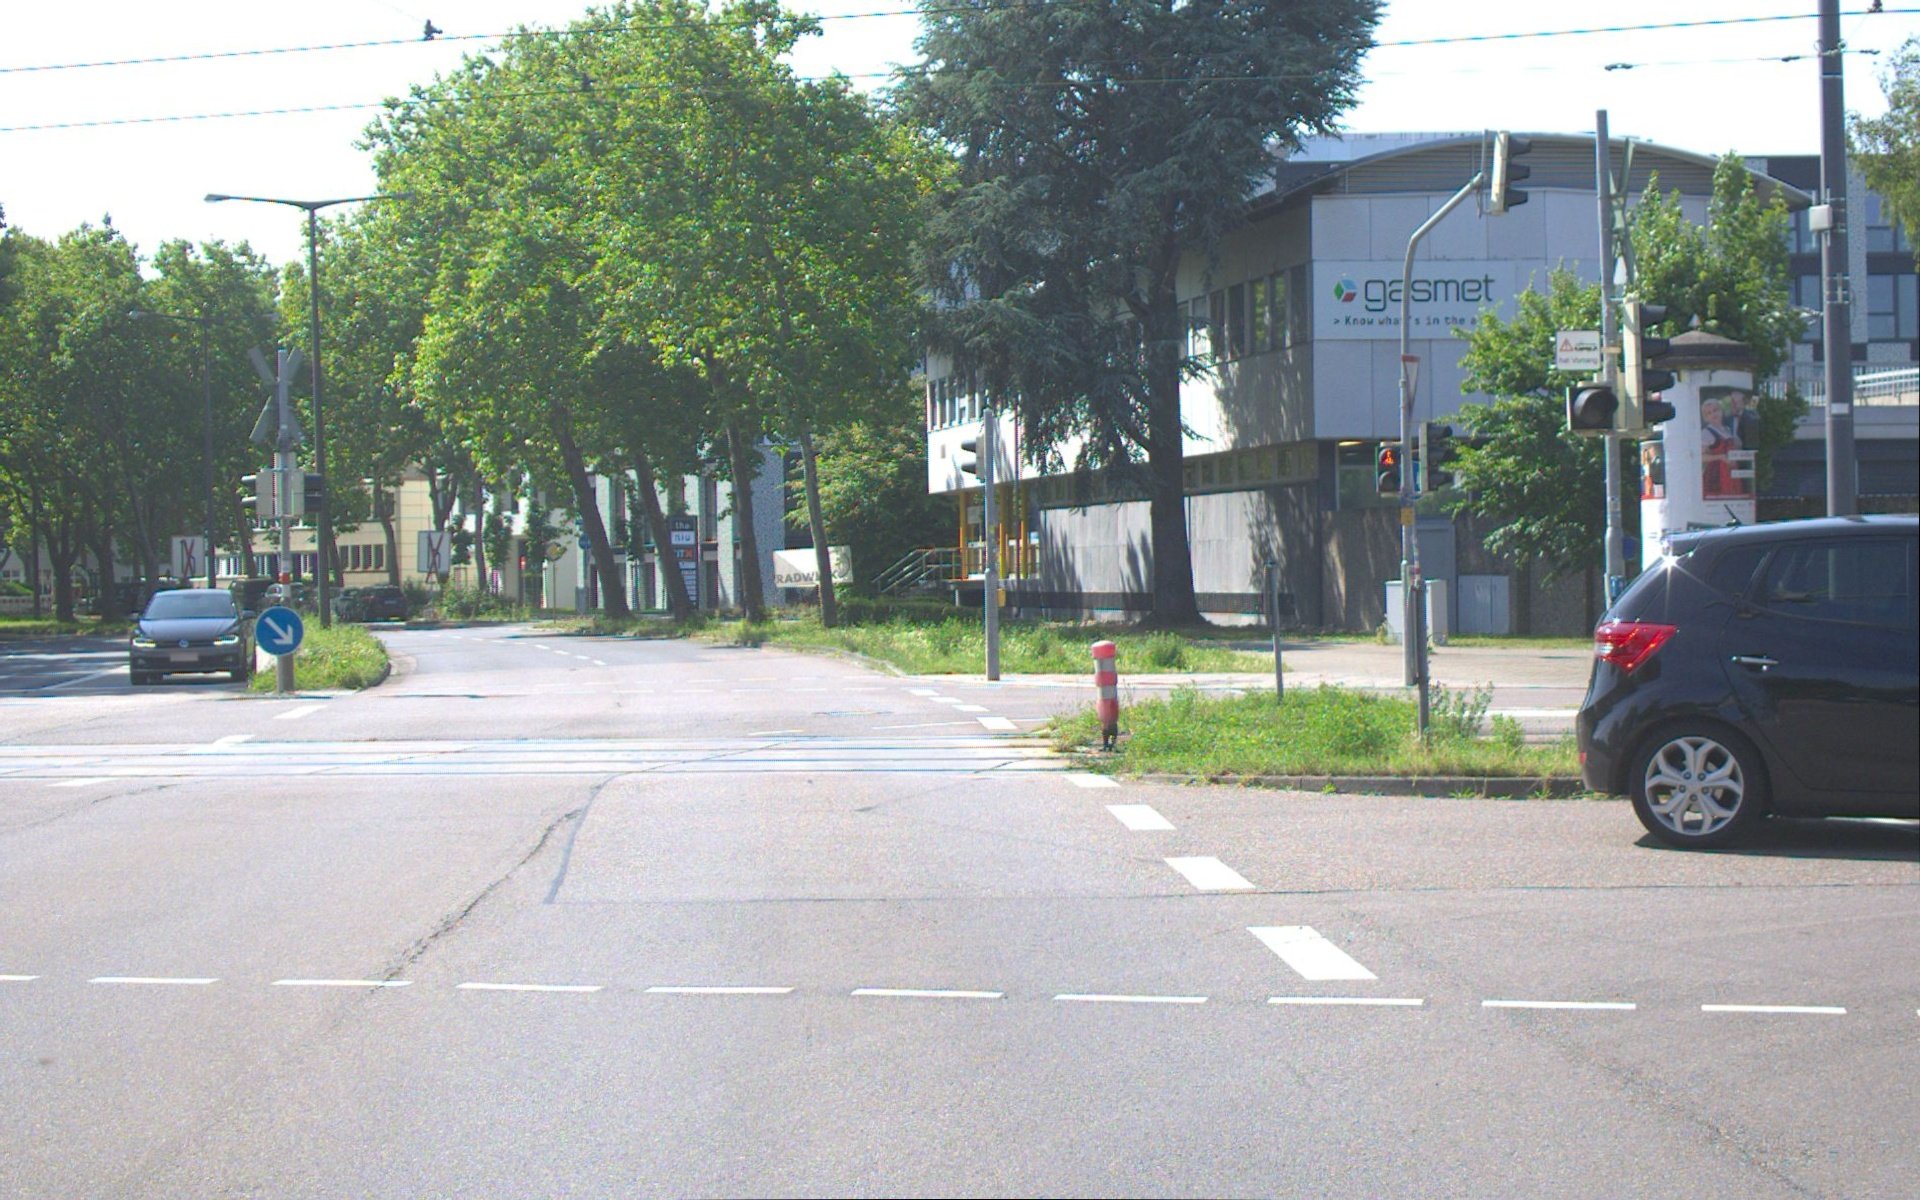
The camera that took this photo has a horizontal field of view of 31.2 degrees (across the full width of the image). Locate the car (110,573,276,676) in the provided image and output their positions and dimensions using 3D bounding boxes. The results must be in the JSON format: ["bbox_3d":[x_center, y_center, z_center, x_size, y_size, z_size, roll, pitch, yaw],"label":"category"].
[{"bbox_3d":[-11.908,0.349,53.604,1.694,1.503,4.130,-1,1,-1],"label":"car"}]

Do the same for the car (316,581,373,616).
[{"bbox_3d":[-26.651,-0.077,148.796,1.706,1.482,4.102,-2,1,-21],"label":"car"}]

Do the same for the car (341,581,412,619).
[{"bbox_3d":[-24.369,-0.013,143.518,1.706,1.482,4.720,-3,1,-25],"label":"car"}]

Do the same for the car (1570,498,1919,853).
[{"bbox_3d":[5.118,0.339,16.634,3.991,1.649,1.792,1,1,21],"label":"car"}]
